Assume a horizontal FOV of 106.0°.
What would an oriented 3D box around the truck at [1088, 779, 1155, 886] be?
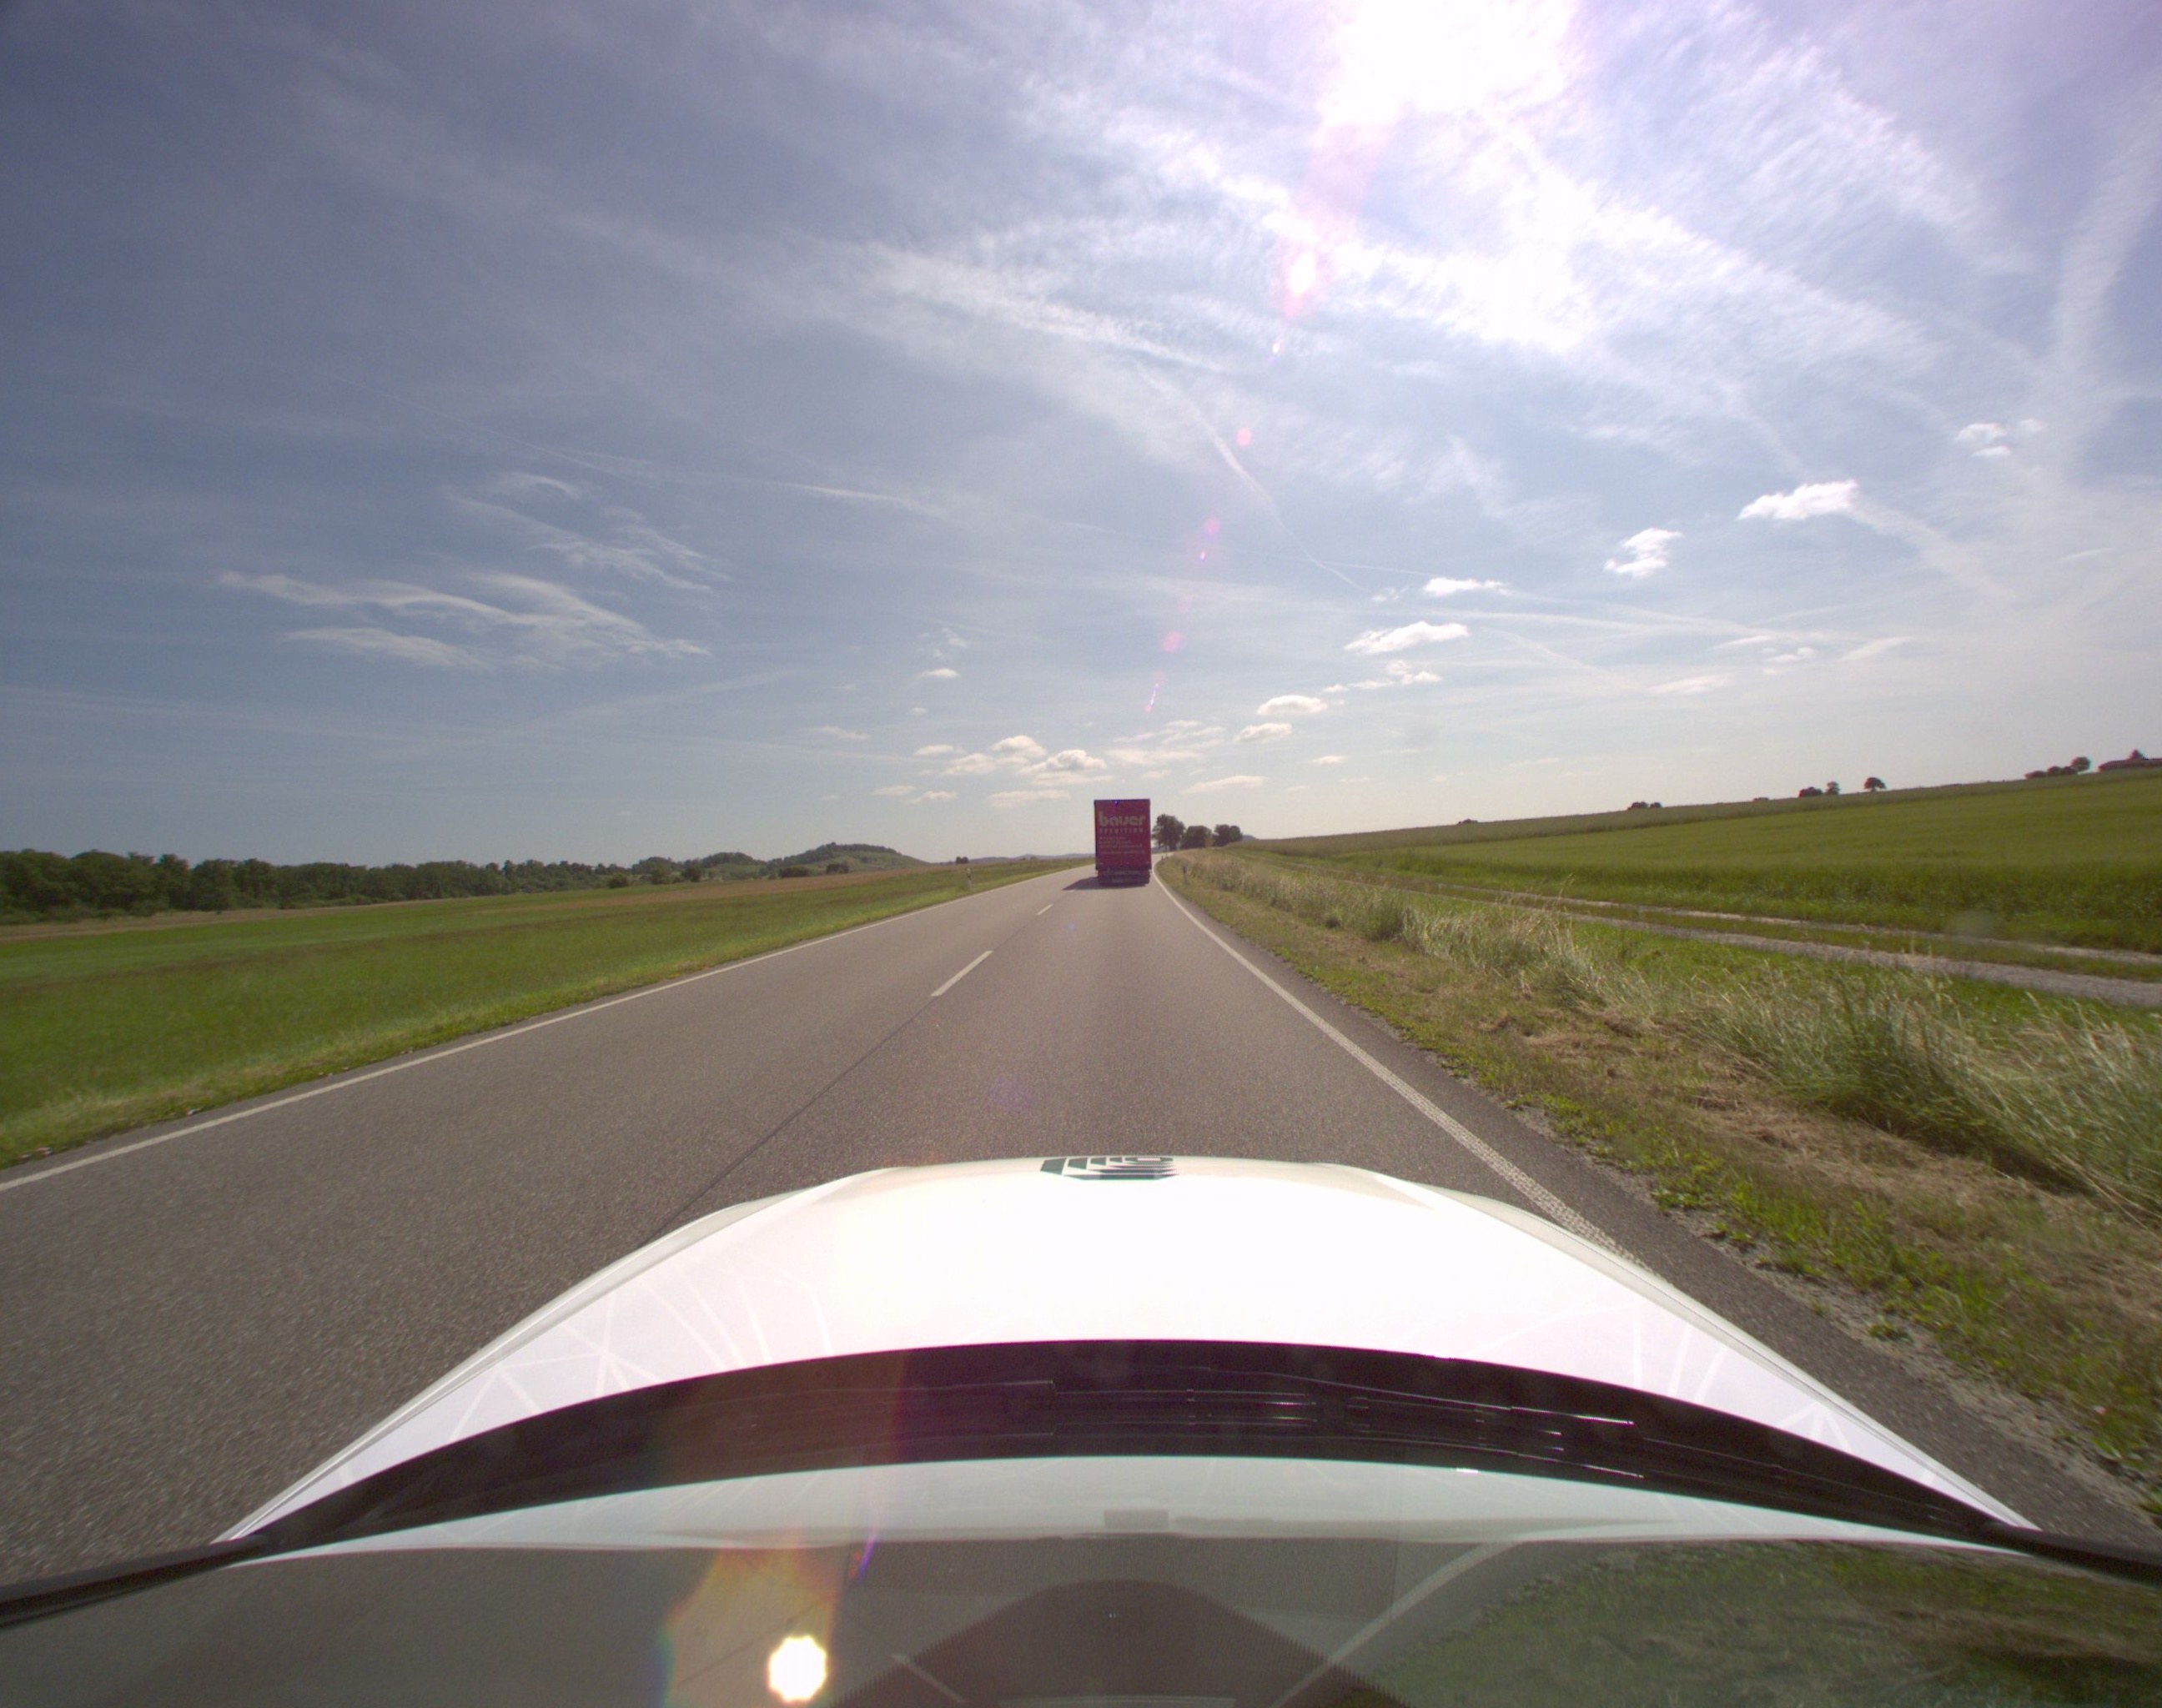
[{"bbox_3d":[2.149,-0.968,40.988,2.962,4.713,9.376,-1,0,4],"label":"truck"}]
